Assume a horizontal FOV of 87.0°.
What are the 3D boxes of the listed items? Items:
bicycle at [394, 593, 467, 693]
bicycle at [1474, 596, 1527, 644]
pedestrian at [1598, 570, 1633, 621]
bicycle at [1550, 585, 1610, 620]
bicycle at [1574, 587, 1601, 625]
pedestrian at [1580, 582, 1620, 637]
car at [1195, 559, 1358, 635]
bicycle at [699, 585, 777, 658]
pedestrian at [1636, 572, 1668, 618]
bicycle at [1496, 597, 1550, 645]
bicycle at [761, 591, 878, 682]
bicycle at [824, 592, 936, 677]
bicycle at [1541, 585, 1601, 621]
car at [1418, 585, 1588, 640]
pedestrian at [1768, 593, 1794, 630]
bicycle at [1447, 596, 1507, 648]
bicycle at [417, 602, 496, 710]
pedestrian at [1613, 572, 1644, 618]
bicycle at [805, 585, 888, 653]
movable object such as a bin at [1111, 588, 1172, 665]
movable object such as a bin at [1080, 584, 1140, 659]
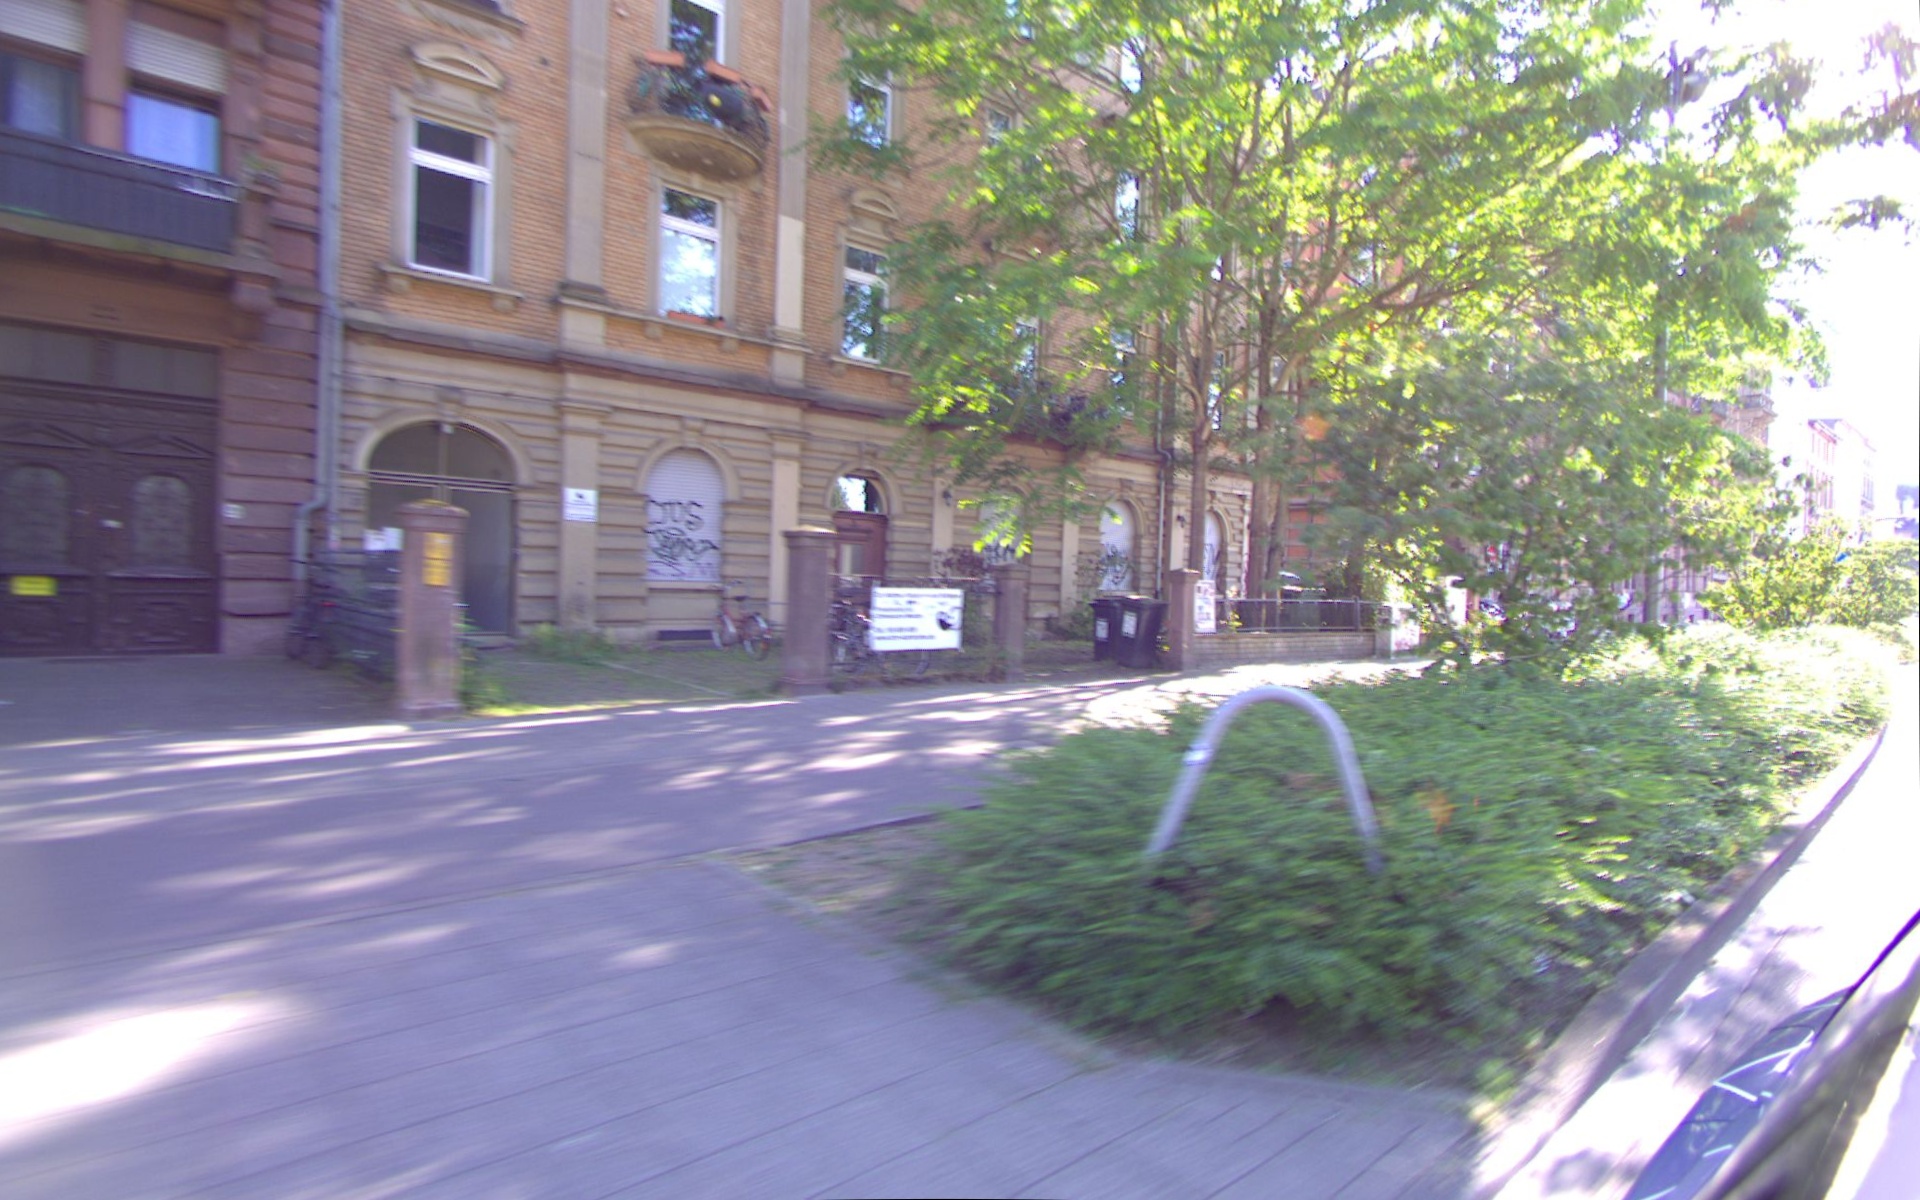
[{"bbox_3d":[-4.969,0.395,9.484,0.369,0.865,0.769,4,0,-43],"label":"bicycle"},{"bbox_3d":[13.297,0.501,24.872,1.789,1.061,0.519,4,0,-42],"label":"bicycle"},{"bbox_3d":[25.673,-0.183,39.632,1.117,1.954,0.823,1,1,-41],"label":"pedestrian"},{"bbox_3d":[23.747,0.078,38.770,1.879,1.254,0.484,3,3,38],"label":"bicycle"},{"bbox_3d":[21.792,0.185,35.113,0.488,1.254,1.862,3,3,40],"label":"bicycle"},{"bbox_3d":[18.554,0.274,29.342,0.649,1.553,0.703,1,1,0],"label":"pedestrian"},{"bbox_3d":[9.836,-0.123,31.714,1.744,2.151,4.584,4,-1,-42],"label":"car"},{"bbox_3d":[-3.235,0.290,14.667,0.434,0.936,1.601,4,0,-37],"label":"bicycle"},{"bbox_3d":[30.064,-0.208,43.957,1.117,1.954,0.823,1,1,-41],"label":"pedestrian"},{"bbox_3d":[13.627,0.526,24.481,1.789,1.061,0.519,4,0,-42],"label":"bicycle"},{"bbox_3d":[-1.685,0.410,11.918,0.529,0.936,1.657,4,0,-39],"label":"bicycle"},{"bbox_3d":[-1.045,0.417,12.877,0.529,0.936,1.657,4,0,-39],"label":"bicycle"},{"bbox_3d":[23.216,0.087,38.459,1.879,1.254,0.484,3,3,38],"label":"bicycle"},{"bbox_3d":[16.709,0.361,31.317,1.780,1.433,4.260,4,0,-40],"label":"car"},{"bbox_3d":[37.949,0.521,46.780,1.117,1.676,0.704,1,1,-41],"label":"pedestrian"},{"bbox_3d":[10.881,0.467,21.289,1.692,1.001,0.526,4,0,-43],"label":"bicycle"},{"bbox_3d":[-4.428,0.479,8.893,0.369,0.865,0.769,4,0,-43],"label":"bicycle"},{"bbox_3d":[29.487,-0.219,44.665,1.117,1.954,0.823,1,1,-41],"label":"pedestrian"},{"bbox_3d":[-1.799,0.276,15.854,0.434,0.936,1.736,4,0,-37],"label":"bicycle"},{"bbox_3d":[2.745,0.389,15.316,0.641,1.072,0.598,-2,7,-41],"label":"movable object such as a bin"},{"bbox_3d":[2.340,0.321,15.787,0.641,1.072,0.598,-2,7,-41],"label":"movable object such as a bin"}]
